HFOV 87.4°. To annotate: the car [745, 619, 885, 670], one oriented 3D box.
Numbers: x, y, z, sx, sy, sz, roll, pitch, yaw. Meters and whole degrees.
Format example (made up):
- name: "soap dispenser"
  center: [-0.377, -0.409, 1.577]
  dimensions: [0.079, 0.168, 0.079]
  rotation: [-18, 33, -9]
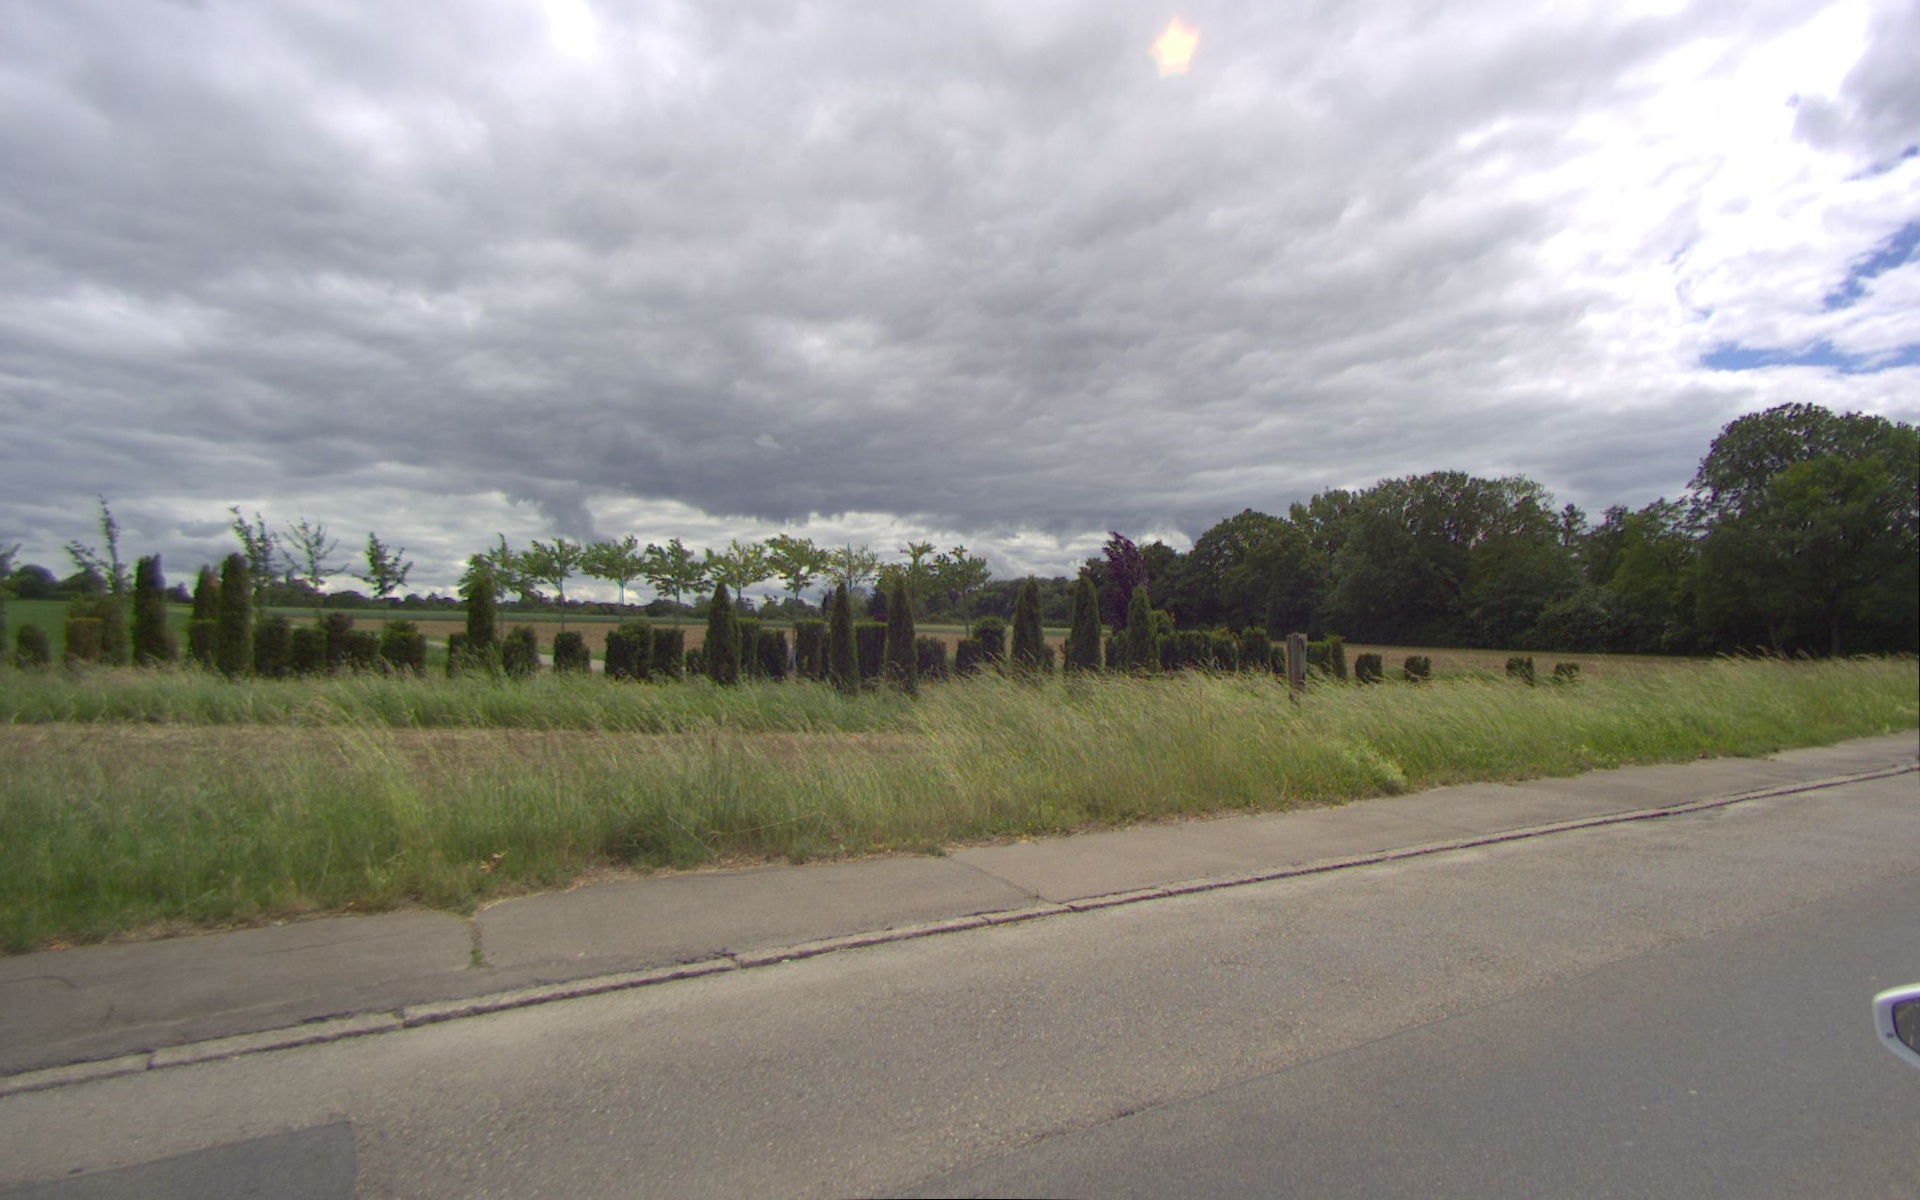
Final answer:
- name: "car"
  center: [-4.490, 1.375, 31.488]
  dimensions: [3.919, 1.473, 1.977]
  rotation: [1, -1, 9]
